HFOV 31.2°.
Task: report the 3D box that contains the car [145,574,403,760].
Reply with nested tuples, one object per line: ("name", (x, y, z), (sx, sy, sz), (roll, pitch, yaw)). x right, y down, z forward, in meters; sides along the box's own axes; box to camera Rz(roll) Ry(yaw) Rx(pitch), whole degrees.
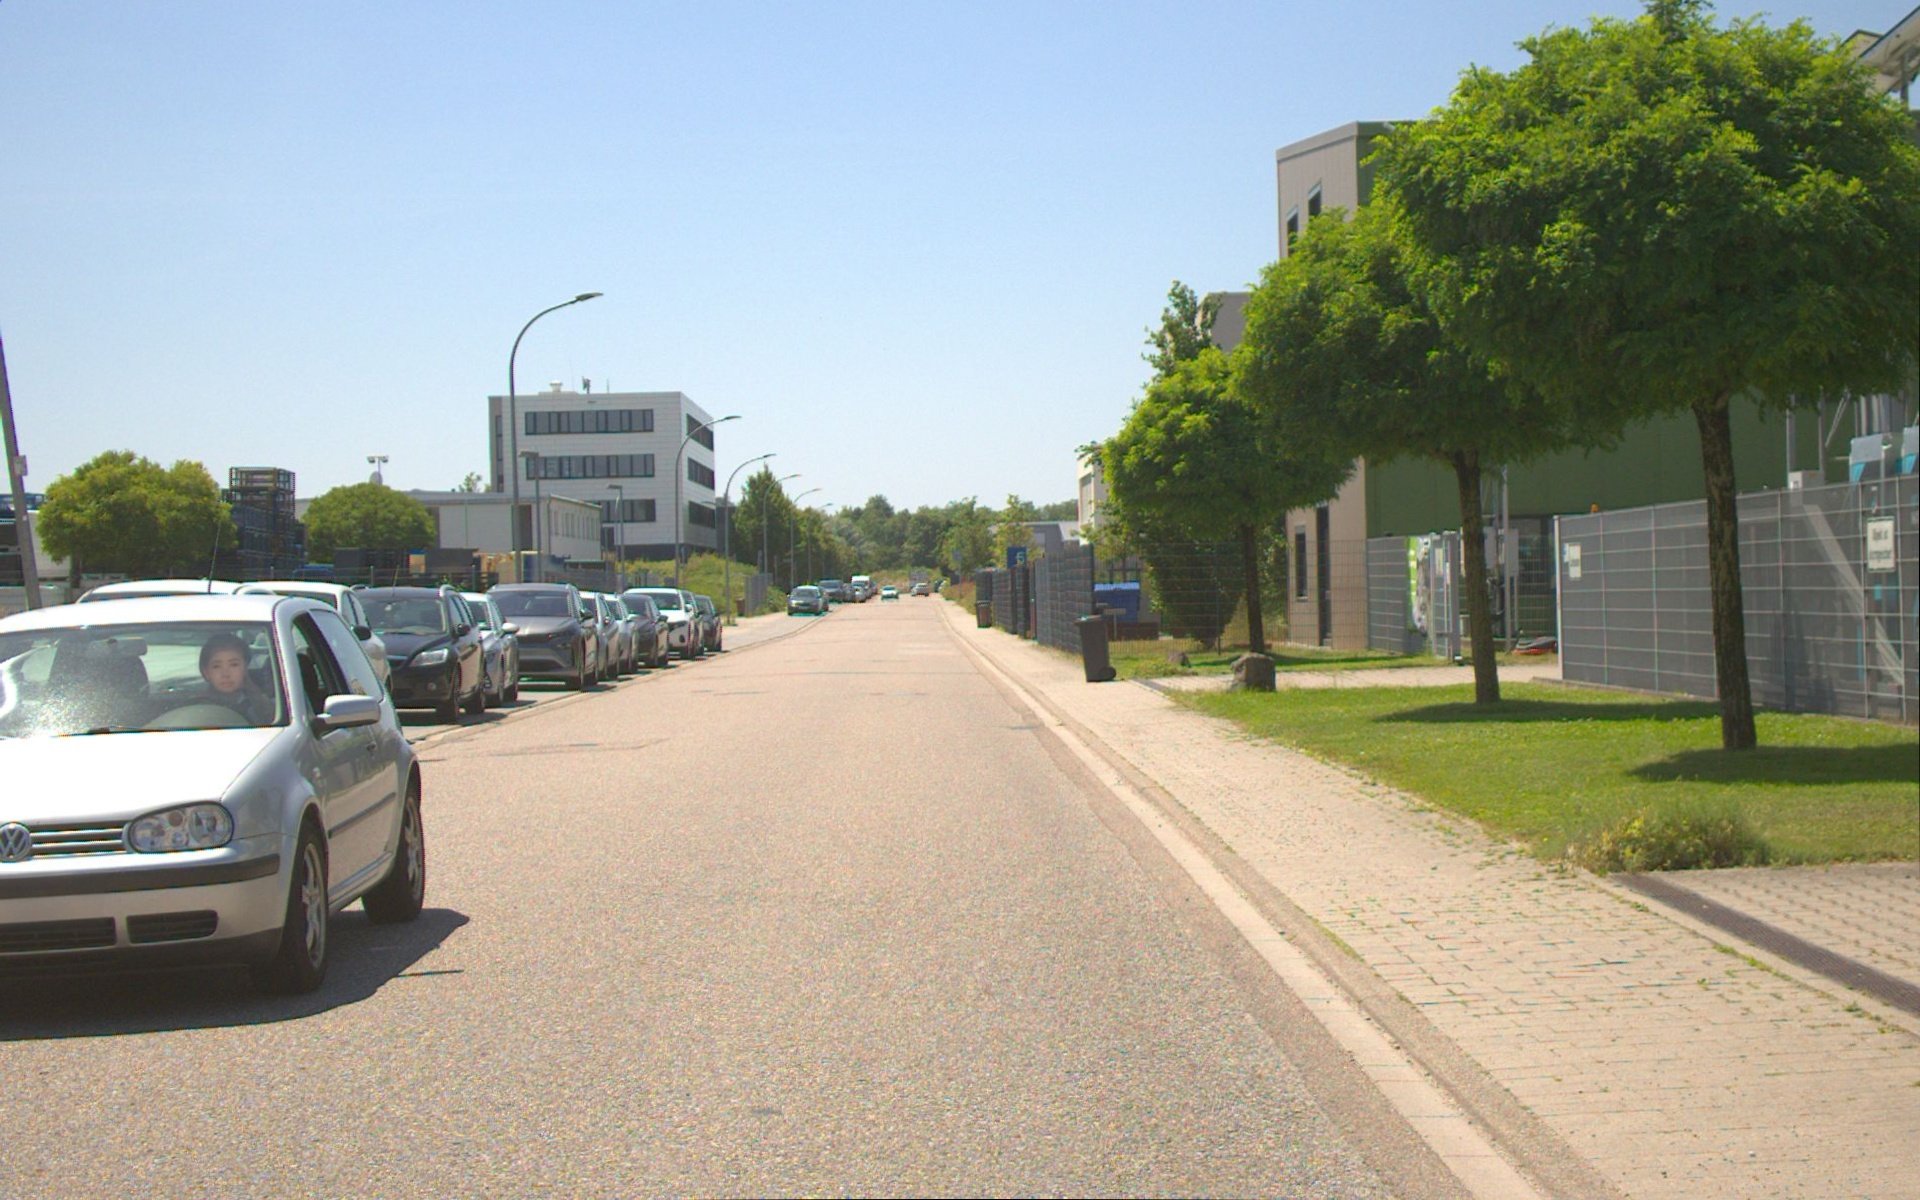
("car", (-6.414, 0.589, 32.504), (1.787, 1.651, 3.769), (0, 0, -2))

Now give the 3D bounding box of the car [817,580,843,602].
("car", (-9.055, -0.653, 239.330), (1.644, 1.484, 3.207), (-1, 0, 0))

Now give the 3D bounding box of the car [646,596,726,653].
("car", (-7.114, 0.629, 89.556), (1.769, 1.456, 4.333), (0, 0, -1))

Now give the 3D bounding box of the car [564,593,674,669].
("car", (-6.883, 0.605, 69.682), (1.857, 1.476, 4.229), (0, 0, -1))

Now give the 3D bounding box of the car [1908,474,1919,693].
("car", (11.949, -0.225, 35.565), (2.129, 2.486, 7.025), (-3, 0, -1))

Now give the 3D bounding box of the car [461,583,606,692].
("car", (-6.522, 0.546, 52.991), (1.790, 1.601, 4.463), (0, 0, -2))

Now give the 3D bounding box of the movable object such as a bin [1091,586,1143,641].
("movable object such as a bin", (4.312, 0.367, 94.647), (1.334, 1.454, 0.949), (-2, 0, -1))

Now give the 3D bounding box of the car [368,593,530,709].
("car", (-6.694, 0.636, 45.375), (1.763, 1.446, 4.201), (0, 0, -4))

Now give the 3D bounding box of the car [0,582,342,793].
("car", (-6.247, 0.635, 27.348), (1.787, 1.537, 4.364), (0, 0, 1))

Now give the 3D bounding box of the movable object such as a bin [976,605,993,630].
("movable object such as a bin", (0.960, 0.709, 136.375), (0.552, 0.925, 0.522), (-5, 1, 4))

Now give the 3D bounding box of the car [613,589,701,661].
("car", (-6.883, 0.550, 78.384), (1.769, 1.587, 4.360), (0, 0, -2))

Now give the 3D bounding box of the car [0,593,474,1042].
("car", (-3.138, 0.734, 13.766), (1.704, 1.406, 4.784), (-3, 1, -1))

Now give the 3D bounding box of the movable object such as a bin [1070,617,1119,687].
("movable object such as a bin", (1.884, 0.721, 48.081), (0.552, 0.925, 0.521), (-5, -1, 9))

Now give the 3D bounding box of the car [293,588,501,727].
("car", (-6.430, 0.617, 39.690), (1.763, 1.512, 4.380), (0, 0, -1))

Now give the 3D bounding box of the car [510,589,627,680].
("car", (-6.715, 0.580, 59.274), (1.693, 1.520, 3.735), (0, 0, -2))

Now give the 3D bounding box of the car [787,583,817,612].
("car", (-8.464, -0.134, 184.348), (1.466, 1.484, 3.207), (-1, 0, 0))
